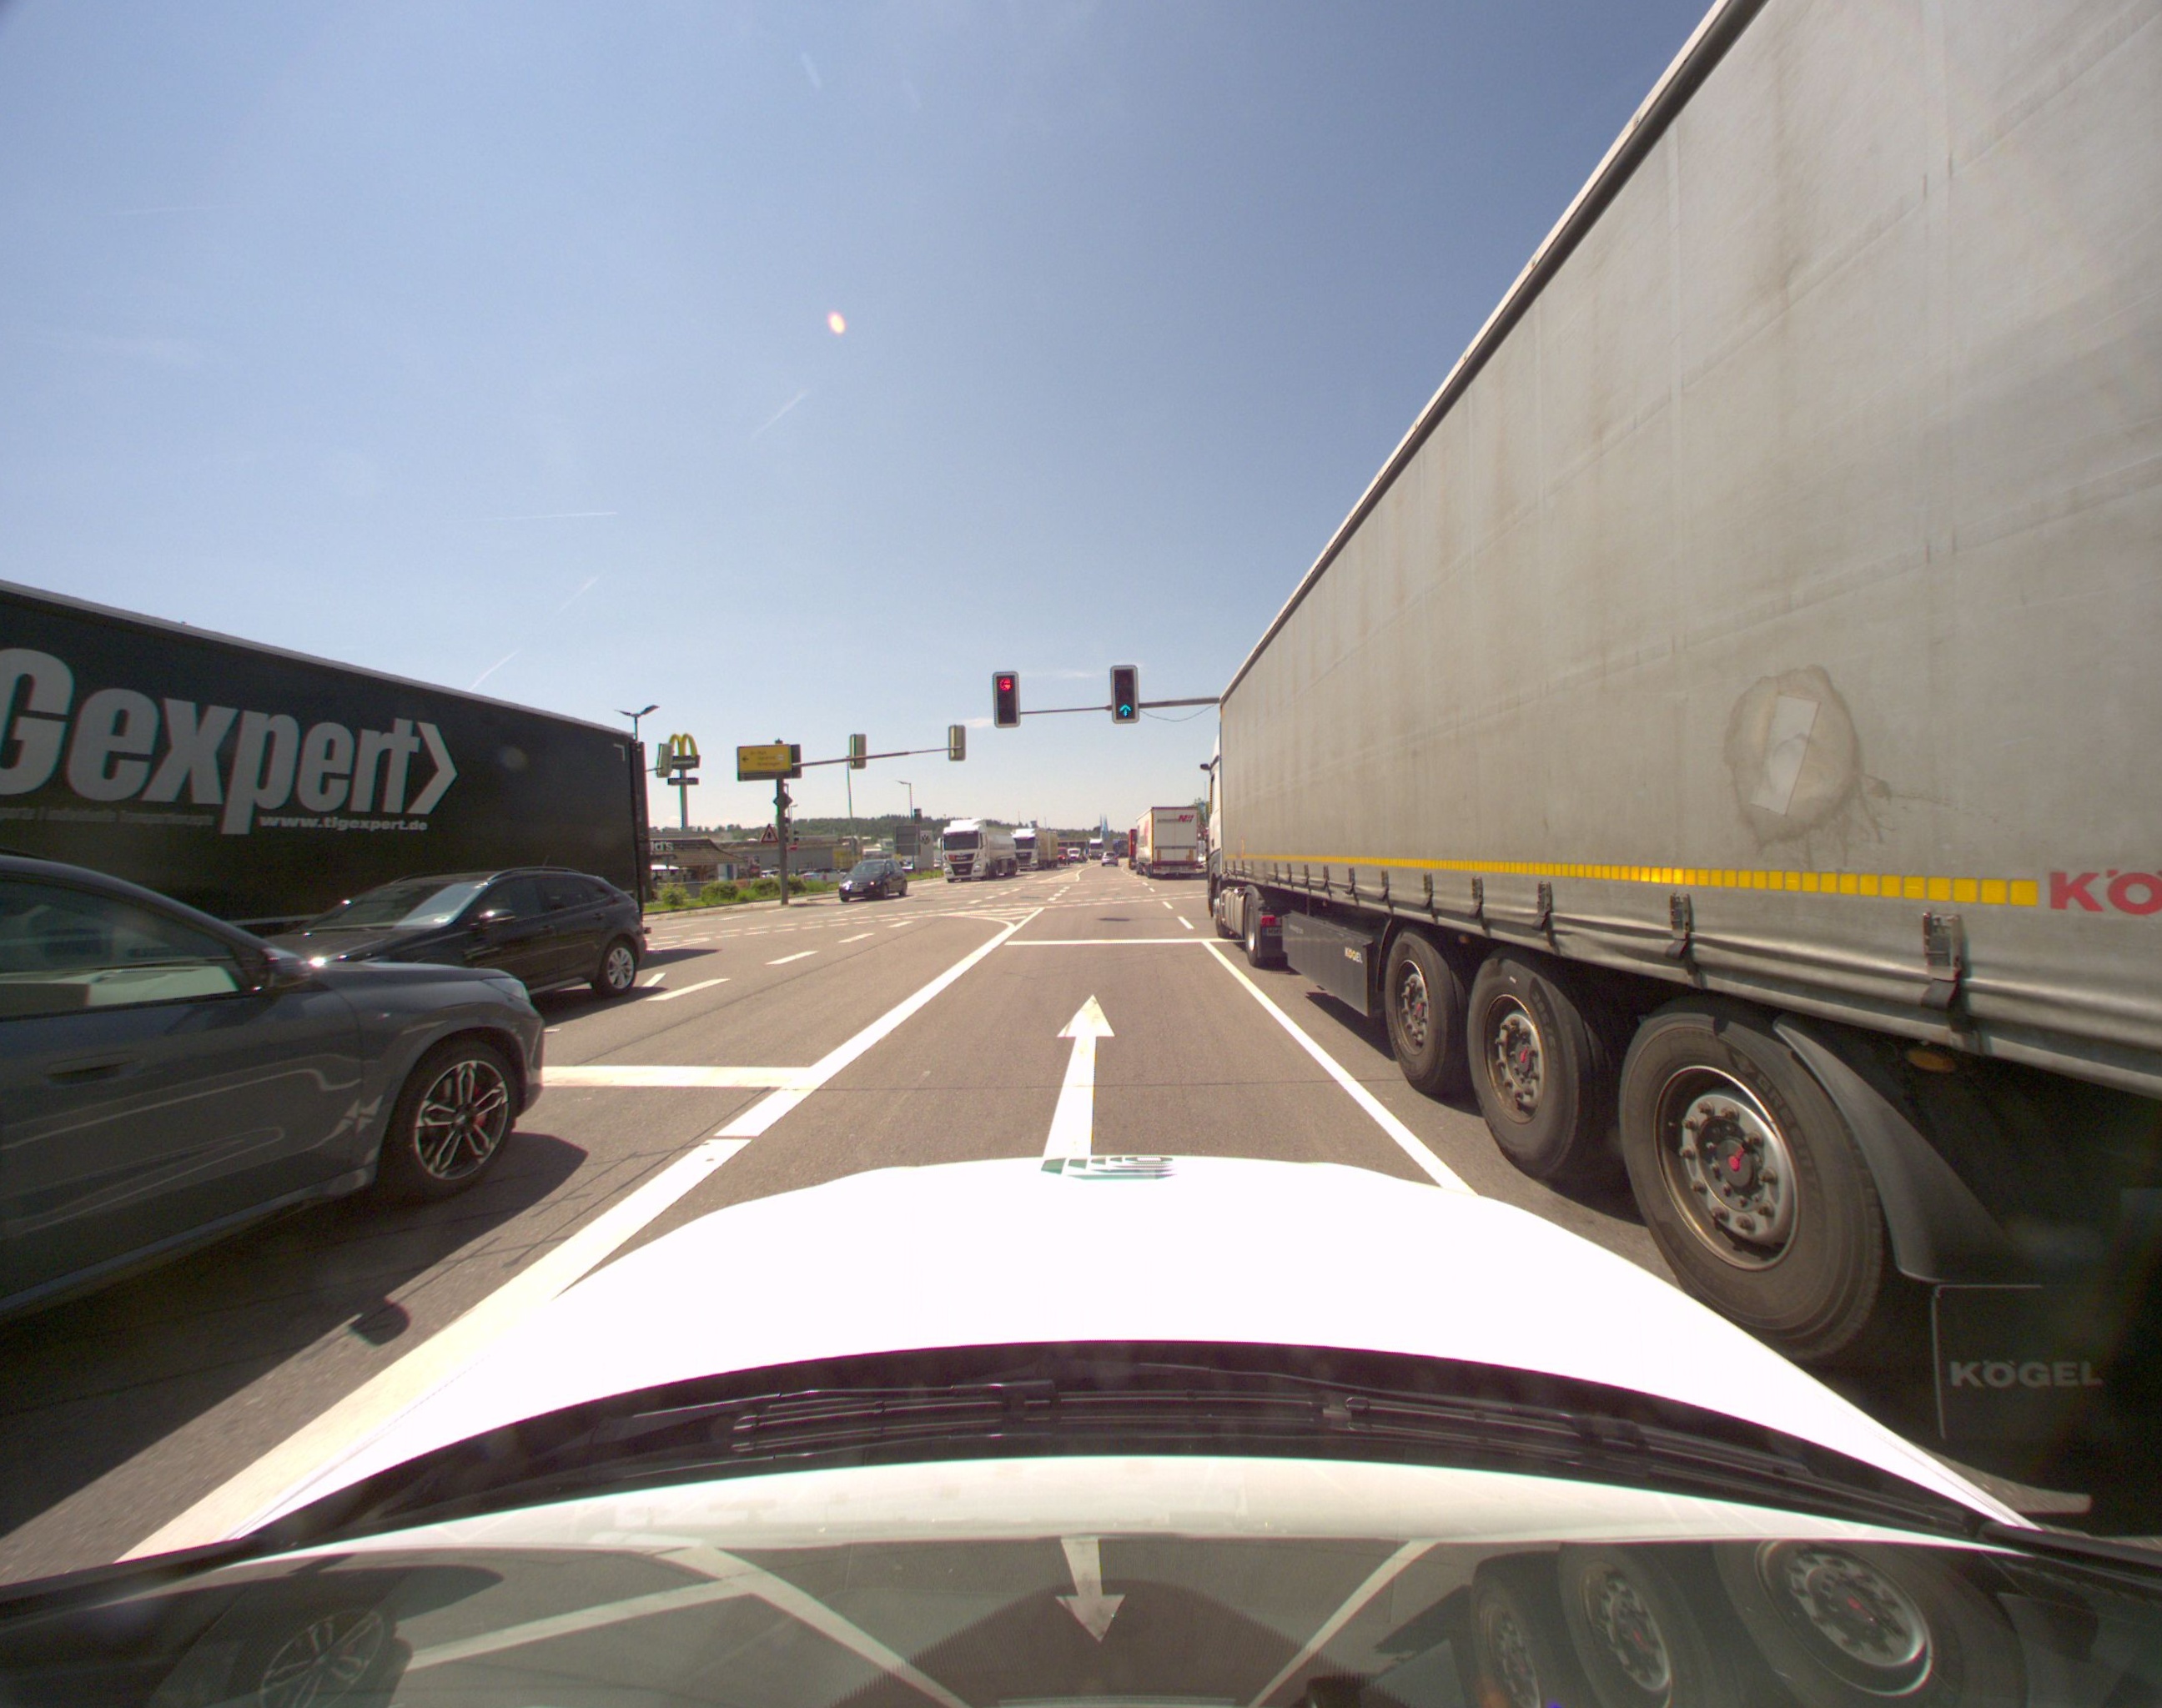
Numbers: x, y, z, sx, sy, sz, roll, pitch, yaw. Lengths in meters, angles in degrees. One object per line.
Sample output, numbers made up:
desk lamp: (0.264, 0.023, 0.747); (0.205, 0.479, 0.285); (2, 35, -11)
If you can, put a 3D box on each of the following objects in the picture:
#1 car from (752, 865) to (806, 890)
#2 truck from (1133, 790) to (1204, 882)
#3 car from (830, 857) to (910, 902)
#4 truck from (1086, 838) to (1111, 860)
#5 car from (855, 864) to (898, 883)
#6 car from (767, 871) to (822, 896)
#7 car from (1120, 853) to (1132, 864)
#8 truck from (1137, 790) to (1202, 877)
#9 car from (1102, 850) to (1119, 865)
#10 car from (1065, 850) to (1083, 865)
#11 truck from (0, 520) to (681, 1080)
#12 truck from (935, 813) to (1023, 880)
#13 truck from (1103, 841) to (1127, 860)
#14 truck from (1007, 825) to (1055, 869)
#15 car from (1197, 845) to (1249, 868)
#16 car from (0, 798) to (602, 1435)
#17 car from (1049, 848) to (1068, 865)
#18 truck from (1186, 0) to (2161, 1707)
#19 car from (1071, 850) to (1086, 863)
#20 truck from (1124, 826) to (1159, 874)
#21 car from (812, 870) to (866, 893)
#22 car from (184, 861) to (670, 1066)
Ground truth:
car: (-27.014, 2.107, 72.964); (1.918, 2.013, 4.026); (-2, 0, 38)
truck: (5.173, -0.992, 51.236); (2.924, 4.837, 14.874); (-2, 0, 1)
car: (-8.412, 0.960, 32.846); (1.818, 1.583, 4.249); (-4, 0, 3)
truck: (3.559, -0.949, 161.613); (3.253, 3.950, 13.892); (-1, -1, 7)
car: (-19.838, 1.864, 78.920); (1.768, 1.658, 3.611); (-3, 0, 44)
car: (-25.144, 2.571, 71.567); (1.918, 2.013, 4.026); (-2, 0, 38)
car: (8.374, 0.786, 150.766); (1.984, 2.013, 4.006); (-2, 0, 5)
truck: (5.320, -0.920, 52.066); (2.864, 4.639, 16.660); (-1, -1, 2)
car: (3.495, 0.392, 95.574); (1.796, 1.670, 4.296); (-1, 0, 4)
car: (-0.993, 0.464, 119.025); (2.192, 2.013, 4.763); (-2, 0, 5)
truck: (-9.892, -0.370, 6.914); (3.132, 4.349, 17.560); (-3, 0, 4)
truck: (-6.664, -0.480, 56.130); (2.920, 3.950, 14.256); (-2, 0, 5)
truck: (7.797, -0.745, 183.832); (3.250, 3.950, 13.905); (-2, 0, 10)
truck: (-4.822, -0.661, 82.170); (2.921, 3.950, 13.879); (-2, 0, 4)
car: (12.196, 0.188, 70.306); (3.982, 1.794, 1.996); (-2, 0, -7)
car: (-3.668, 0.702, 2.415); (1.787, 1.627, 4.370); (-2, 0, 1)
car: (-2.850, 0.354, 103.664); (1.984, 2.014, 4.006); (-1, -1, 5)
truck: (3.246, -0.530, 7.968); (2.745, 4.639, 16.660); (-1, -1, 2)
car: (-0.383, 0.445, 127.273); (1.895, 2.014, 4.005); (-1, -1, 5)
truck: (6.163, -0.169, 84.756); (2.864, 4.479, 16.660); (-1, -1, 2)
car: (-20.707, 2.348, 69.864); (1.974, 1.794, 4.026); (-2, 0, 38)
car: (-6.183, 0.890, 8.407); (1.657, 1.508, 3.908); (-3, 0, 3)
